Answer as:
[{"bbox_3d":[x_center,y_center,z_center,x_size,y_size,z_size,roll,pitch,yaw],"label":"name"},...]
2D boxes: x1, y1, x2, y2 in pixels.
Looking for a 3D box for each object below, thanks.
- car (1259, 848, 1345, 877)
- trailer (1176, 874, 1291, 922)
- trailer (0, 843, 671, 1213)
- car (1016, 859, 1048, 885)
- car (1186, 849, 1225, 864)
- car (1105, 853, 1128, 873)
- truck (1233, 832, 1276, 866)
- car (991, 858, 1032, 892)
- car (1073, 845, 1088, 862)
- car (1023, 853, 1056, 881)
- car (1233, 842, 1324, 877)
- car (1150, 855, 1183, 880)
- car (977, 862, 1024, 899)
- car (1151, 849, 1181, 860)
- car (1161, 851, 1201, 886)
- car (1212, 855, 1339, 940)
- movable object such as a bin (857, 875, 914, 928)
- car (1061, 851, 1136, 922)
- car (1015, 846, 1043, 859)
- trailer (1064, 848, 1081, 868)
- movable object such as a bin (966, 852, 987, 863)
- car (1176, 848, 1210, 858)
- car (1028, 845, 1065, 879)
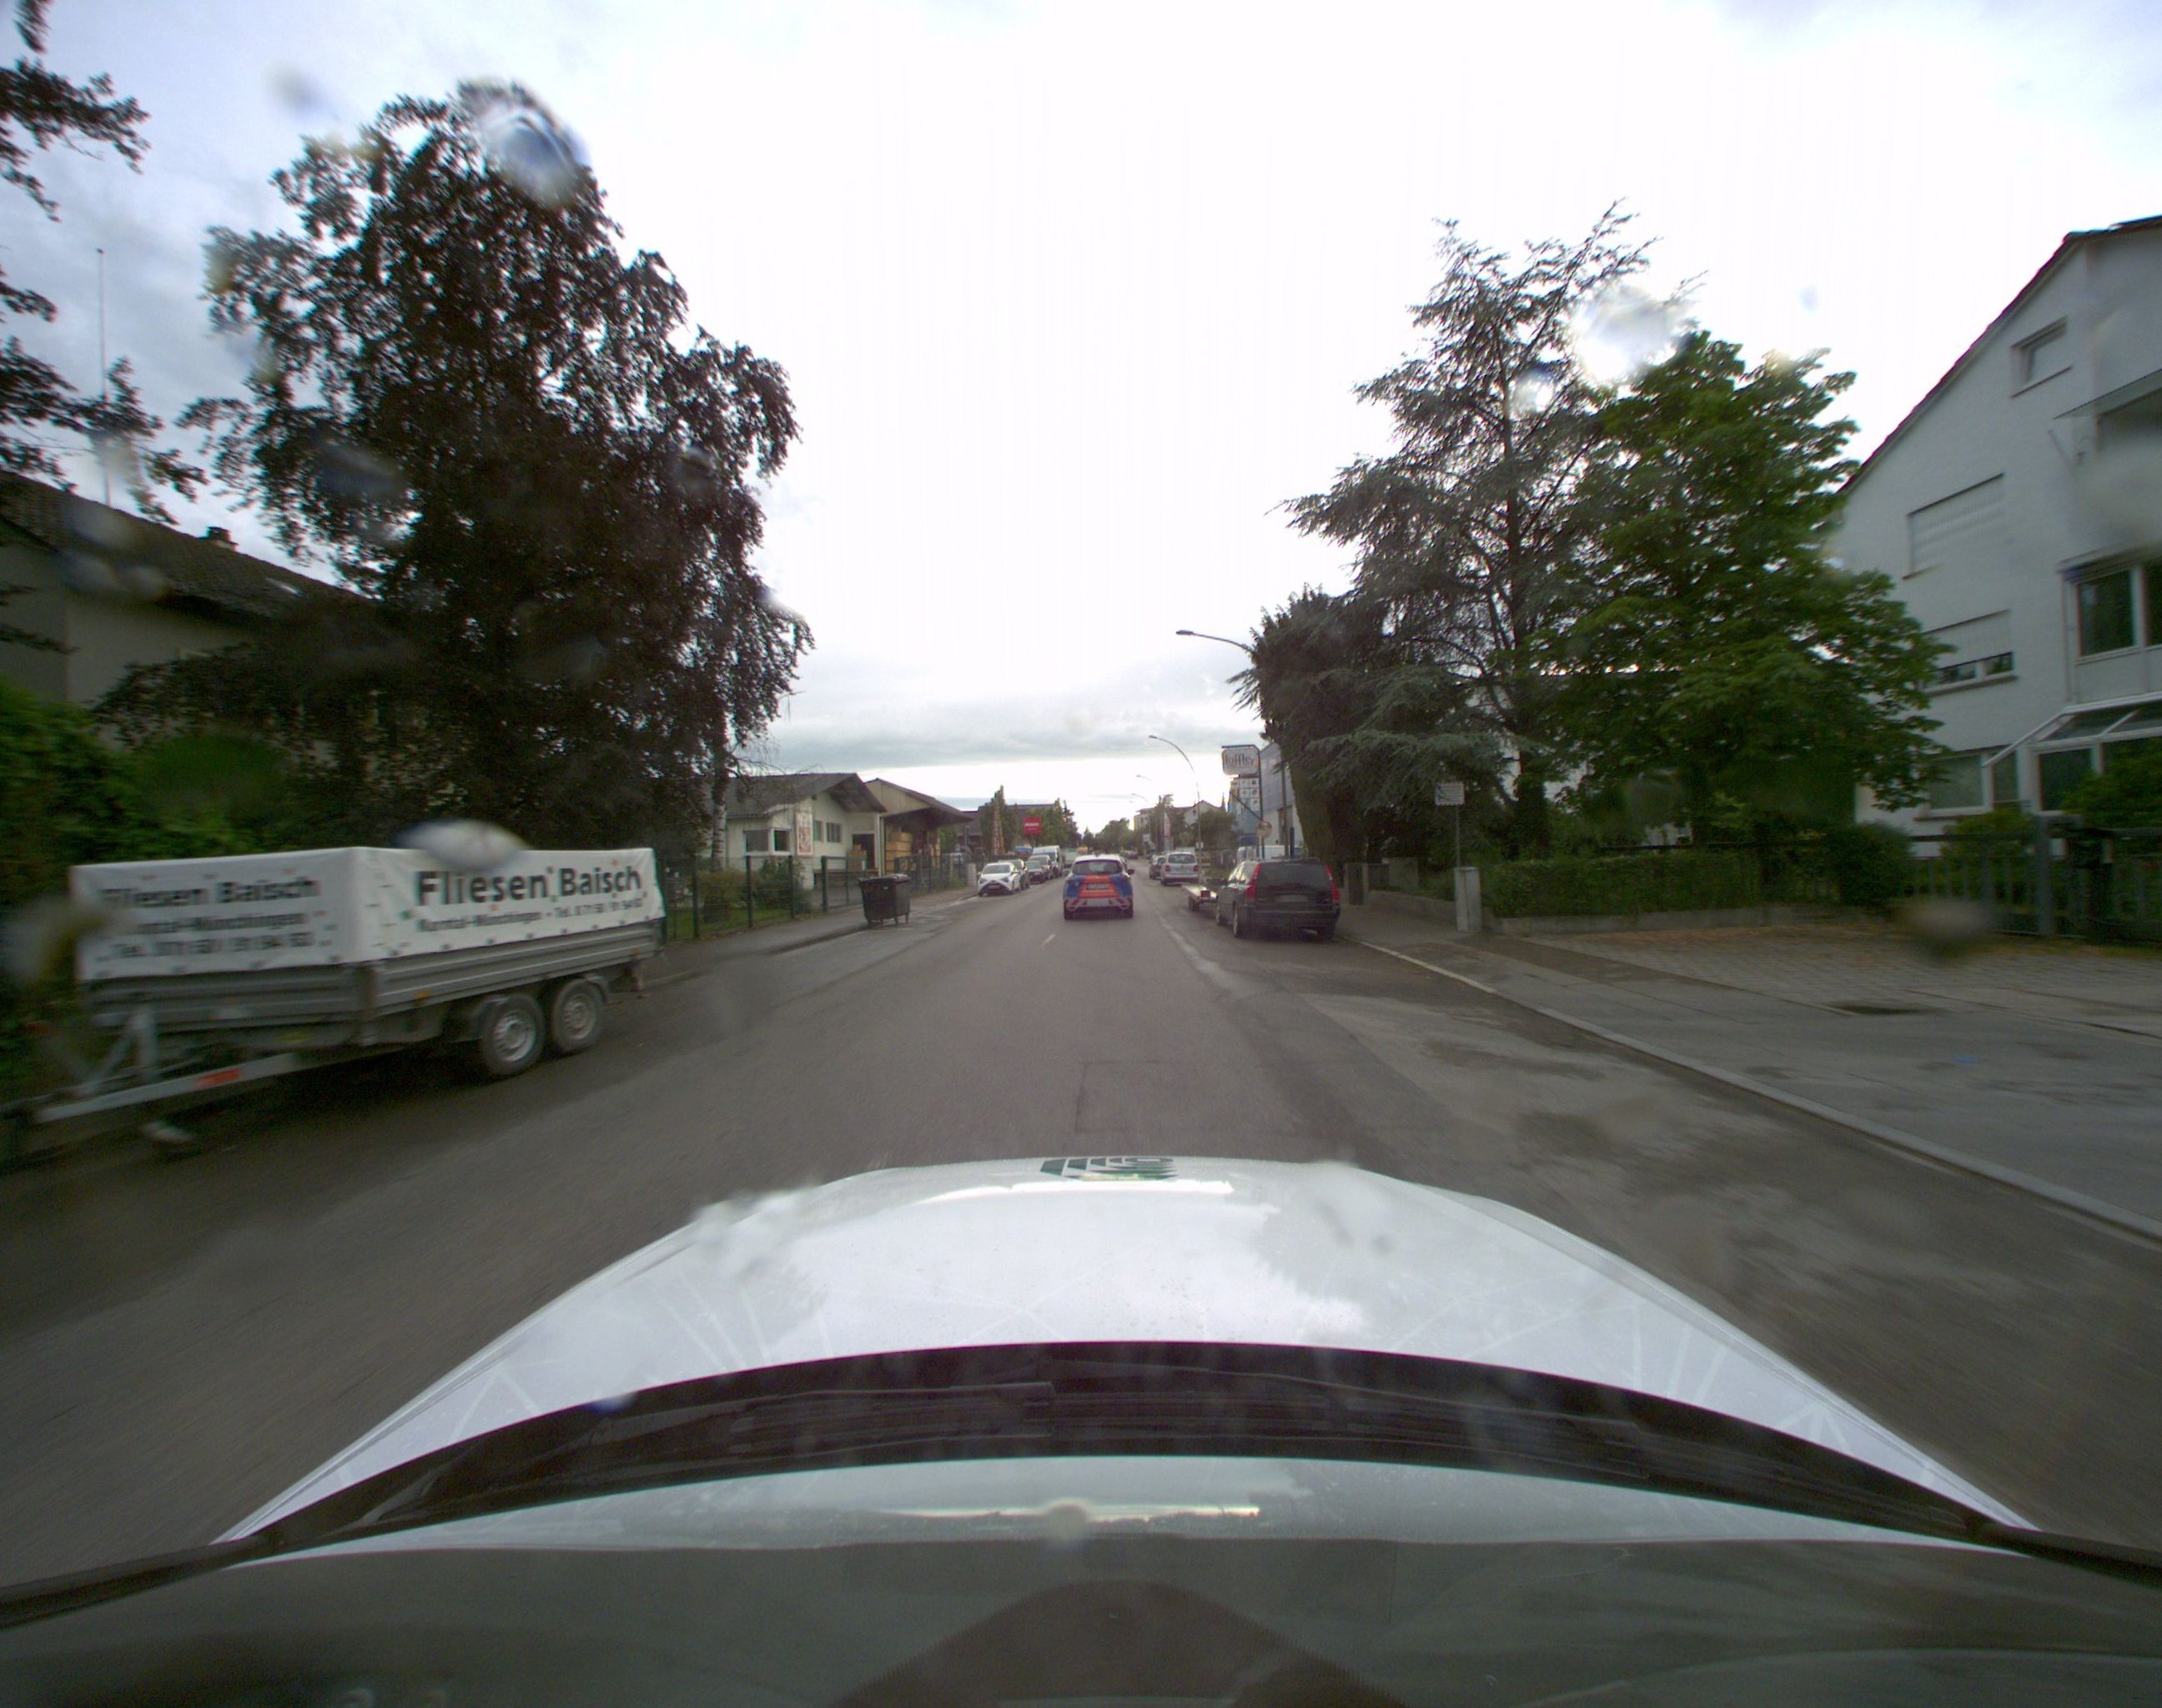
[{"bbox_3d":[11.737,0.462,43.445,4.087,1.457,2.001,-1,0,2],"label":"car"},{"bbox_3d":[3.974,1.117,22.482,2.165,0.897,6.640,-1,0,2],"label":"trailer"},{"bbox_3d":[-5.349,0.852,6.216,1.922,1.765,4.551,-1,0,3],"label":"trailer"},{"bbox_3d":[-3.099,1.123,52.162,1.656,1.448,4.318,-3,0,1],"label":"car"},{"bbox_3d":[13.273,0.235,86.842,3.973,1.430,1.631,-2,0,0],"label":"car"},{"bbox_3d":[2.717,0.688,63.360,1.644,1.521,4.000,-1,0,0],"label":"car"},{"bbox_3d":[19.273,-0.523,90.558,4.131,3.673,2.719,1,0,-1],"label":"truck"},{"bbox_3d":[-3.613,1.054,43.013,1.655,1.584,3.917,-4,0,1],"label":"car"},{"bbox_3d":[-0.030,-0.084,131.861,2.117,2.537,6.023,-3,0,1],"label":"car"},{"bbox_3d":[-2.930,0.938,58.604,1.762,1.768,4.449,-6,-1,3],"label":"car"},{"bbox_3d":[11.097,0.312,45.974,4.713,1.886,2.001,-1,0,2],"label":"car"},{"bbox_3d":[5.241,0.835,50.507,1.732,1.466,4.548,-1,0,2],"label":"car"},{"bbox_3d":[-3.711,1.207,38.081,1.610,1.509,3.663,-3,0,3],"label":"car"},{"bbox_3d":[12.889,0.051,123.302,4.322,1.475,1.903,-1,0,1],"label":"car"},{"bbox_3d":[4.944,0.689,40.679,1.731,1.621,4.378,-1,0,4],"label":"car"},{"bbox_3d":[3.700,0.758,16.241,1.732,1.433,4.653,-1,0,4],"label":"car"},{"bbox_3d":[-5.125,1.234,21.493,1.096,1.310,1.426,-1,0,2],"label":"movable object such as a bin"},{"bbox_3d":[0.453,0.775,21.037,1.725,1.630,3.495,-2,0,1],"label":"car"},{"bbox_3d":[-8.517,-0.256,133.081,4.289,2.014,2.064,-1,0,2],"label":"car"},{"bbox_3d":[-1.033,0.477,101.793,1.806,2.313,4.732,-4,0,2],"label":"trailer"},{"bbox_3d":[-18.259,0.612,142.503,3.415,1.759,1.997,-1,0,-5],"label":"movable object such as a bin"},{"bbox_3d":[15.441,-0.143,112.262,4.399,1.393,1.880,-1,0,1],"label":"car"},{"bbox_3d":[-2.656,0.597,64.396,2.150,2.427,6.463,-5,0,2],"label":"car"}]
